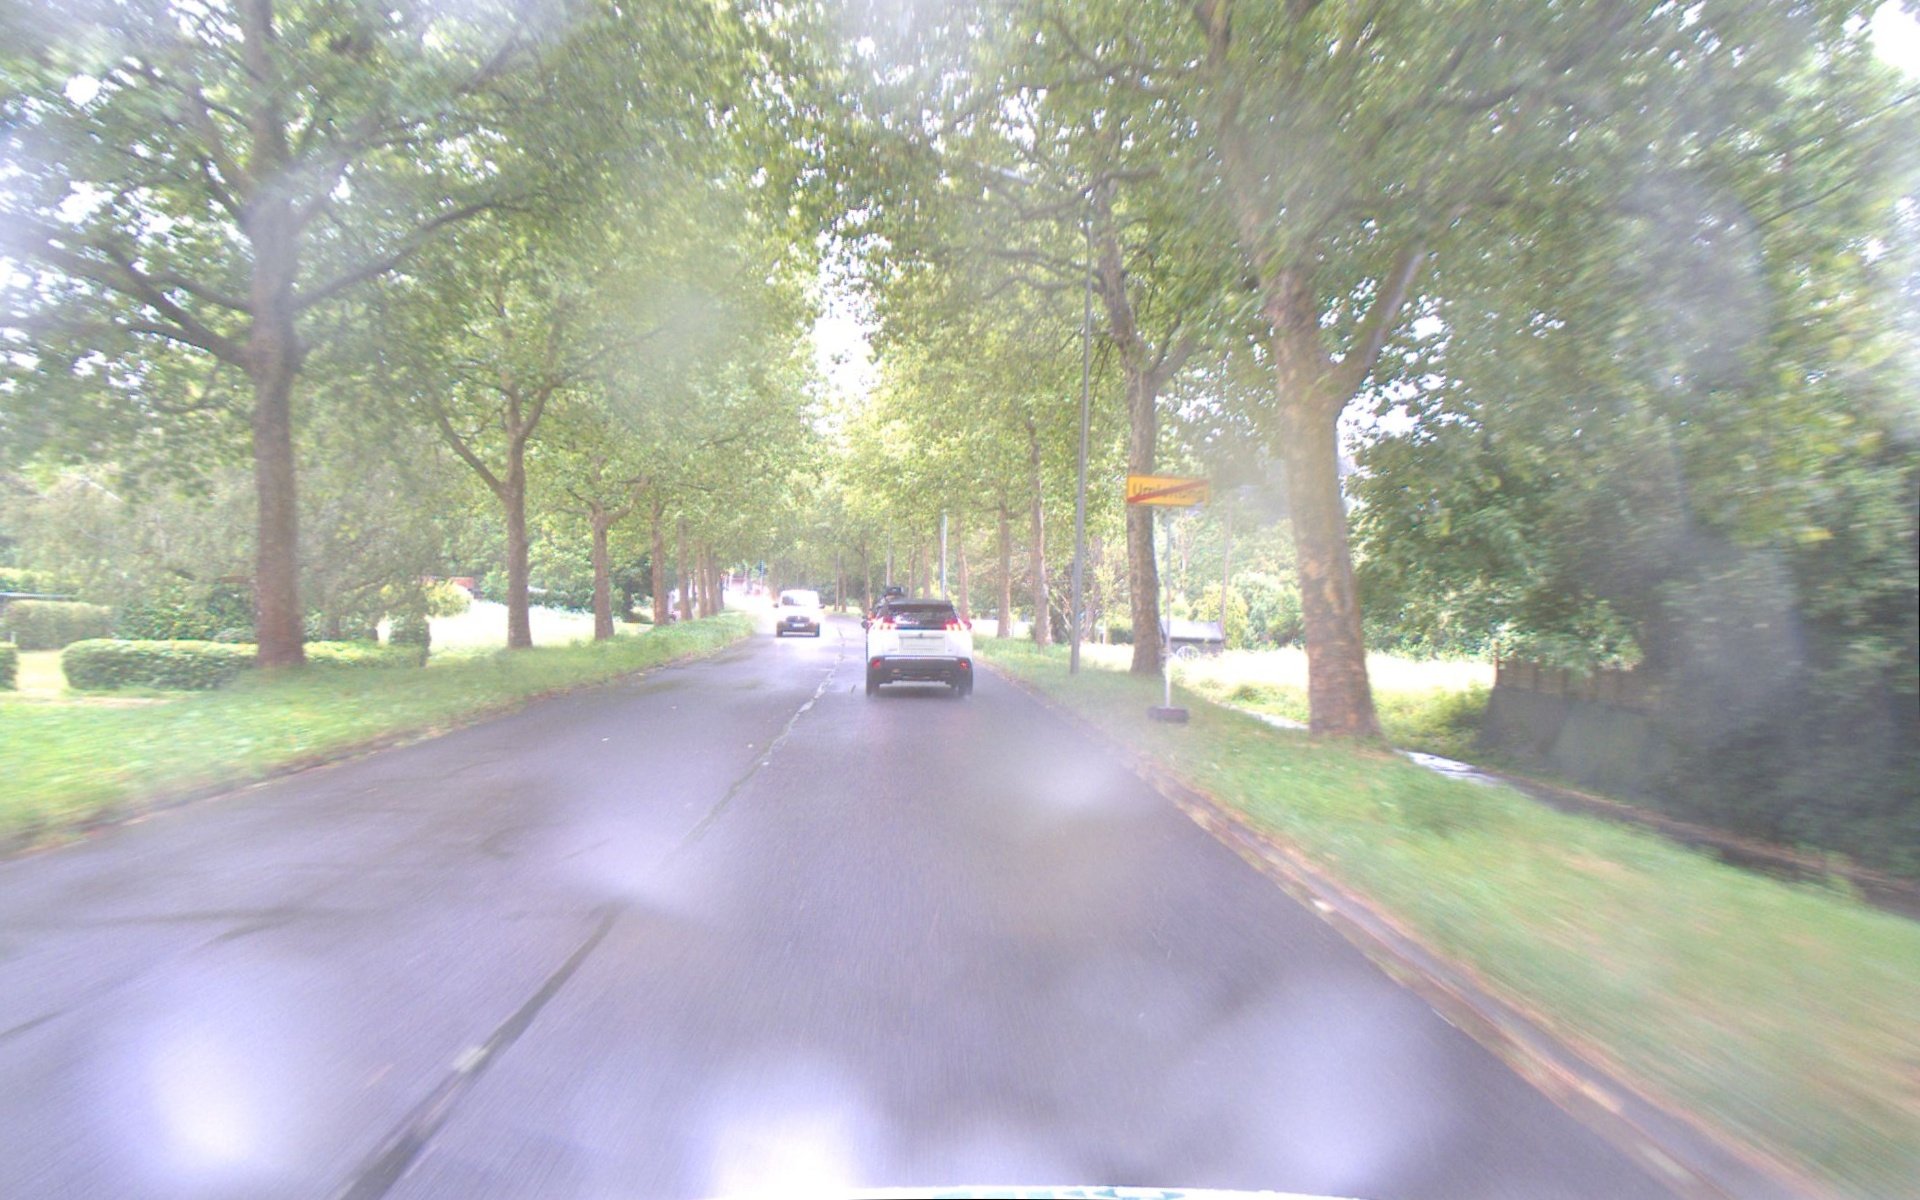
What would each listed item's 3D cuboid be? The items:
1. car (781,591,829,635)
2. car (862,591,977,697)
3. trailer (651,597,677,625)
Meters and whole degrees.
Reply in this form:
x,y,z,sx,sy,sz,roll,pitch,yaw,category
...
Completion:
x,y,z,sx,sy,sz,roll,pitch,yaw,category
-6.648,0.547,71.164,1.826,1.780,5.012,2,0,-3,car
-0.629,0.689,27.952,1.757,1.606,3.844,2,0,0,car
-29.559,1.093,165.291,2.439,2.612,5.321,2,0,-9,trailer
